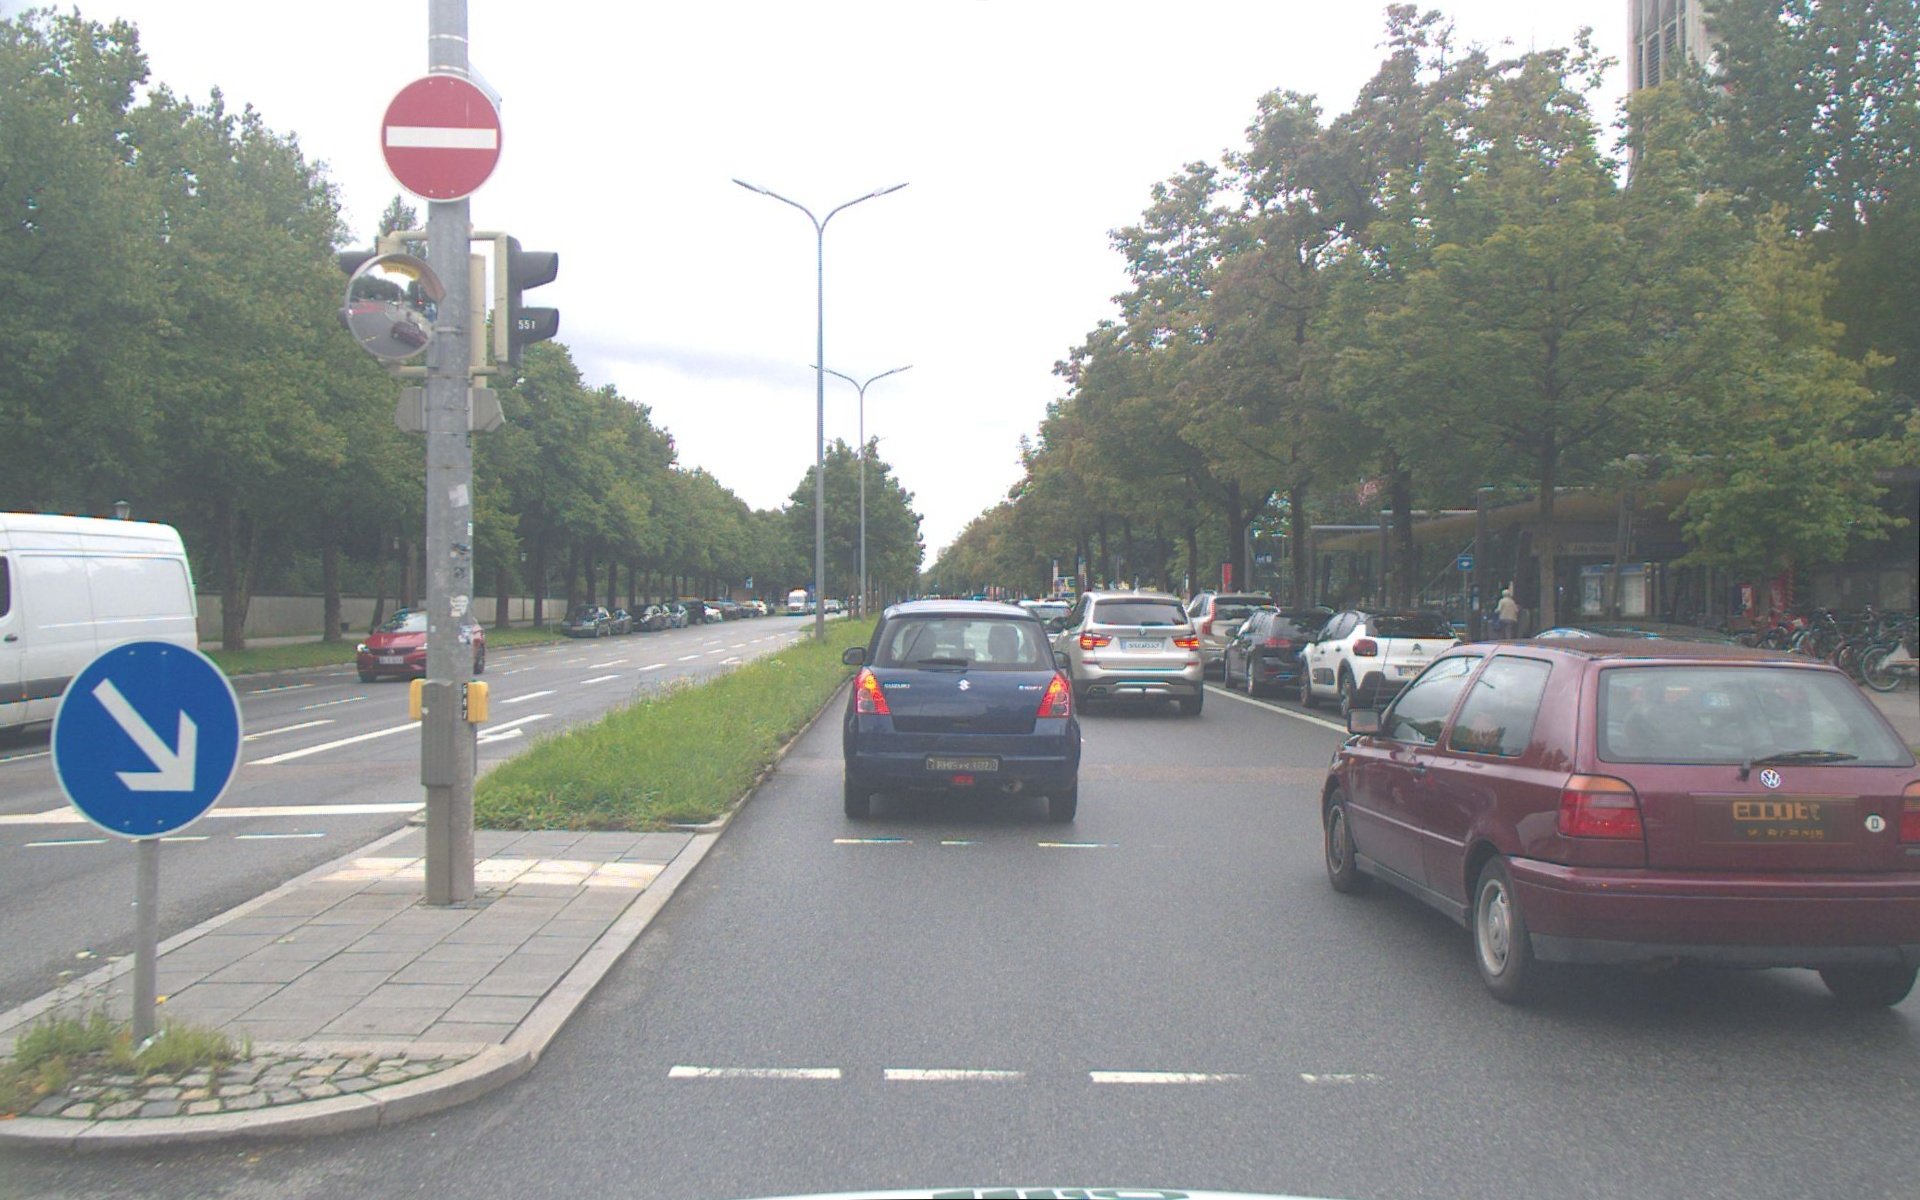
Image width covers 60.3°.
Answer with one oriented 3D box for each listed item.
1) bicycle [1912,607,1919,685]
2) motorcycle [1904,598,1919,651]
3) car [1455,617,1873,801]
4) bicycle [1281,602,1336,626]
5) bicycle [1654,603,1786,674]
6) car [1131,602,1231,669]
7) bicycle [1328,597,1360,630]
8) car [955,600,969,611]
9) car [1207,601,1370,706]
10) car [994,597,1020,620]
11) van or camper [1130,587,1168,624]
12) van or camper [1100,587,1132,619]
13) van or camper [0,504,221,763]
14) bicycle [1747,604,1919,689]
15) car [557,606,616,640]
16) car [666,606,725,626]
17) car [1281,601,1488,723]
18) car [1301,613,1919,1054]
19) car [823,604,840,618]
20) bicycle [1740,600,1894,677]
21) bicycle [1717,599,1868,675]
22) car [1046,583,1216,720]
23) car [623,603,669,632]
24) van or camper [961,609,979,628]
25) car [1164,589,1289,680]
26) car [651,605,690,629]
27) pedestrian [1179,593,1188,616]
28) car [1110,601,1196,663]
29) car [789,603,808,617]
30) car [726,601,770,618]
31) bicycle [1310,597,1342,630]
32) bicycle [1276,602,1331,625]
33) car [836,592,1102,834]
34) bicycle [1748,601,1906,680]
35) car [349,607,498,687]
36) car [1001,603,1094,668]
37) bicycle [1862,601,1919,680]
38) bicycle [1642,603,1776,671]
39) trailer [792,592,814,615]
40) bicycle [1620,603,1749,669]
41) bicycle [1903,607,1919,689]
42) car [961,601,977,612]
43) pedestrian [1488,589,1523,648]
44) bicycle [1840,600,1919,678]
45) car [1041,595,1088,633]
[{"bbox_3d":[15.656,0.646,24.903,2.291,1.177,0.585,-3,0,-2],"label":"bicycle"},{"bbox_3d":[20.386,0.502,34.861,0.645,1.080,1.806,0,0,36],"label":"motorcycle"},{"bbox_3d":[6.183,0.876,15.200,1.676,1.384,4.618,0,0,-3],"label":"car"},{"bbox_3d":[16.616,0.653,78.798,2.490,1.108,0.647,0,0,-2],"label":"bicycle"},{"bbox_3d":[14.109,0.703,30.716,2.296,1.177,0.528,-3,0,-10],"label":"bicycle"},{"bbox_3d":[5.360,0.827,40.581,1.668,1.534,4.501,0,0,-3],"label":"car"},{"bbox_3d":[15.324,0.525,66.088,0.632,1.303,2.550,0,0,-1],"label":"bicycle"},{"bbox_3d":[0.298,0.741,232.727,1.813,1.472,4.095,0,0,-3],"label":"car"},{"bbox_3d":[5.566,0.844,28.568,1.712,1.574,4.640,-2,0,-2],"label":"car"},{"bbox_3d":[3.480,0.657,123.970,1.729,1.680,4.422,0,0,-2],"label":"car"},{"bbox_3d":[13.753,0.396,120.611,1.953,2.602,5.955,0,0,-1],"label":"van or camper"},{"bbox_3d":[12.933,0.222,137.305,1.983,2.602,5.955,0,0,-1],"label":"van or camper"},{"bbox_3d":[-11.111,0.382,18.988,2.134,2.693,6.949,-2,0,-1],"label":"van or camper"},{"bbox_3d":[13.293,0.700,25.216,2.291,1.177,0.585,-3,0,-2],"label":"bicycle"},{"bbox_3d":[-17.720,1.080,78.599,1.763,1.516,4.913,1,0,-1],"label":"car"},{"bbox_3d":[-19.550,1.168,122.461,3.956,1.378,1.827,0,0,-36],"label":"car"},{"bbox_3d":[5.928,0.802,23.621,1.678,1.574,4.379,0,0,-2],"label":"car"},{"bbox_3d":[2.844,0.816,7.682,1.589,1.479,3.948,0,0,-2],"label":"car"},{"bbox_3d":[-14.911,1.256,192.200,1.875,1.569,4.185,-1,0,-3],"label":"car"},{"bbox_3d":[14.331,0.636,27.676,2.291,1.177,0.529,-3,0,-2],"label":"bicycle"},{"bbox_3d":[14.202,0.621,28.222,2.291,1.177,0.529,-3,0,-2],"label":"bicycle"},{"bbox_3d":[2.332,0.666,23.530,1.813,1.773,4.095,0,0,-3],"label":"car"},{"bbox_3d":[-17.646,0.977,93.042,1.538,1.529,4.305,1,0,3],"label":"car"},{"bbox_3d":[1.103,2.040,180.403,1.905,2.009,4.305,0,0,-1],"label":"van or camper"},{"bbox_3d":[5.486,0.662,34.611,1.712,1.754,4.905,1,0,-1],"label":"car"},{"bbox_3d":[-18.379,1.067,105.119,1.602,1.464,4.808,1,0,0],"label":"car"},{"bbox_3d":[17.068,0.353,126.232,0.563,1.782,0.732,0,0,3],"label":"pedestrian"},{"bbox_3d":[5.240,0.830,45.325,1.686,1.561,4.398,2,0,-2],"label":"car"},{"bbox_3d":[-18.006,1.080,184.413,1.875,1.569,4.185,-1,0,-3],"label":"car"},{"bbox_3d":[-21.334,0.945,166.632,4.060,1.612,1.896,-1,0,-35],"label":"car"},{"bbox_3d":[14.619,0.529,66.095,0.632,1.303,2.550,0,0,-1],"label":"bicycle"},{"bbox_3d":[16.613,0.650,80.017,2.490,1.108,0.647,0,0,-2],"label":"bicycle"},{"bbox_3d":[-0.037,0.744,12.924,1.753,1.583,3.998,0,0,-3],"label":"car"},{"bbox_3d":[14.206,0.661,27.121,2.291,1.177,0.529,-3,0,-2],"label":"bicycle"},{"bbox_3d":[-11.365,0.953,35.343,1.708,1.477,4.656,-2,0,-1],"label":"car"},{"bbox_3d":[2.052,0.817,39.828,1.813,1.472,4.095,0,0,-3],"label":"car"},{"bbox_3d":[15.473,0.595,25.973,2.291,1.177,0.585,-3,0,-2],"label":"bicycle"},{"bbox_3d":[14.321,0.706,31.635,2.291,1.177,0.529,-3,0,-2],"label":"bicycle"},{"bbox_3d":[-18.373,0.418,193.814,2.063,2.585,5.575,0,0,-1],"label":"trailer"},{"bbox_3d":[14.304,0.705,32.658,2.291,1.177,0.529,-3,0,-2],"label":"bicycle"},{"bbox_3d":[15.144,0.655,24.237,2.291,1.177,0.585,-3,0,-2],"label":"bicycle"},{"bbox_3d":[1.173,0.815,218.902,1.813,1.472,4.095,0,0,-3],"label":"car"},{"bbox_3d":[14.346,0.492,43.489,0.570,1.539,0.690,0,0,-20],"label":"pedestrian"},{"bbox_3d":[15.453,0.595,26.582,2.291,1.177,0.585,-3,0,-2],"label":"bicycle"},{"bbox_3d":[4.829,0.641,76.913,1.751,1.704,4.593,0,0,-2],"label":"car"}]
